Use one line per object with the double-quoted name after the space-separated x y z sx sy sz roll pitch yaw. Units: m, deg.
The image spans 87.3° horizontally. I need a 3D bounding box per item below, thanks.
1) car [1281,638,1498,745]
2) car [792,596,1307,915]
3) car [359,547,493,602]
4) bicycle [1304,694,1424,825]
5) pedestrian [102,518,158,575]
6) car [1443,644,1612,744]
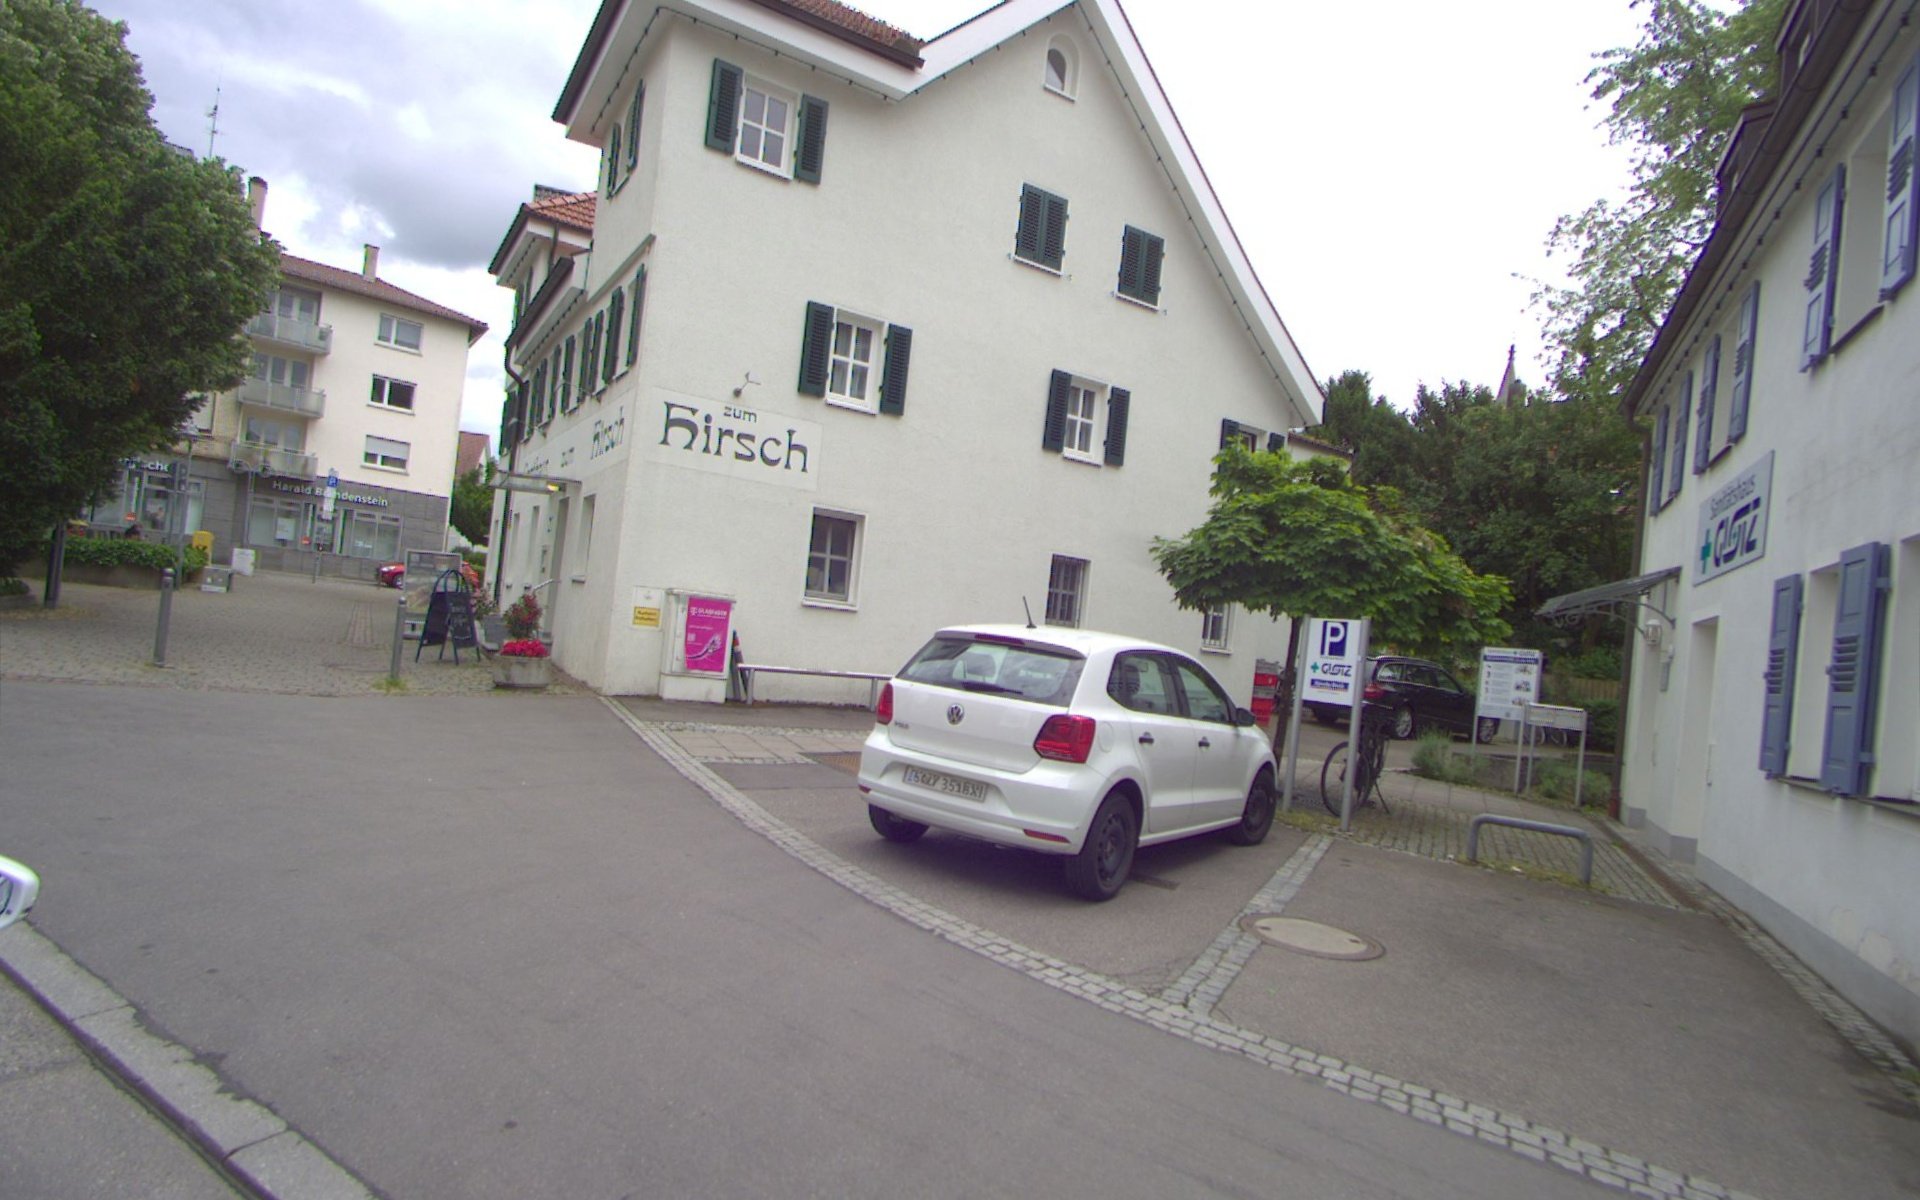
8.380 1.800 19.562 3.962 1.575 1.894 7 3 -35 "car"
0.887 0.935 7.073 1.868 1.435 3.795 6 -1 35 "car"
-22.049 -1.030 41.640 2.096 1.564 4.364 6 -3 44 "car"
3.999 1.516 9.874 0.606 1.074 1.913 8 0 34 "bicycle"
-23.095 -1.488 27.989 0.960 1.396 0.855 6 -2 36 "pedestrian"
13.356 2.224 23.619 3.968 1.923 1.979 8 -1 -38 "car"
